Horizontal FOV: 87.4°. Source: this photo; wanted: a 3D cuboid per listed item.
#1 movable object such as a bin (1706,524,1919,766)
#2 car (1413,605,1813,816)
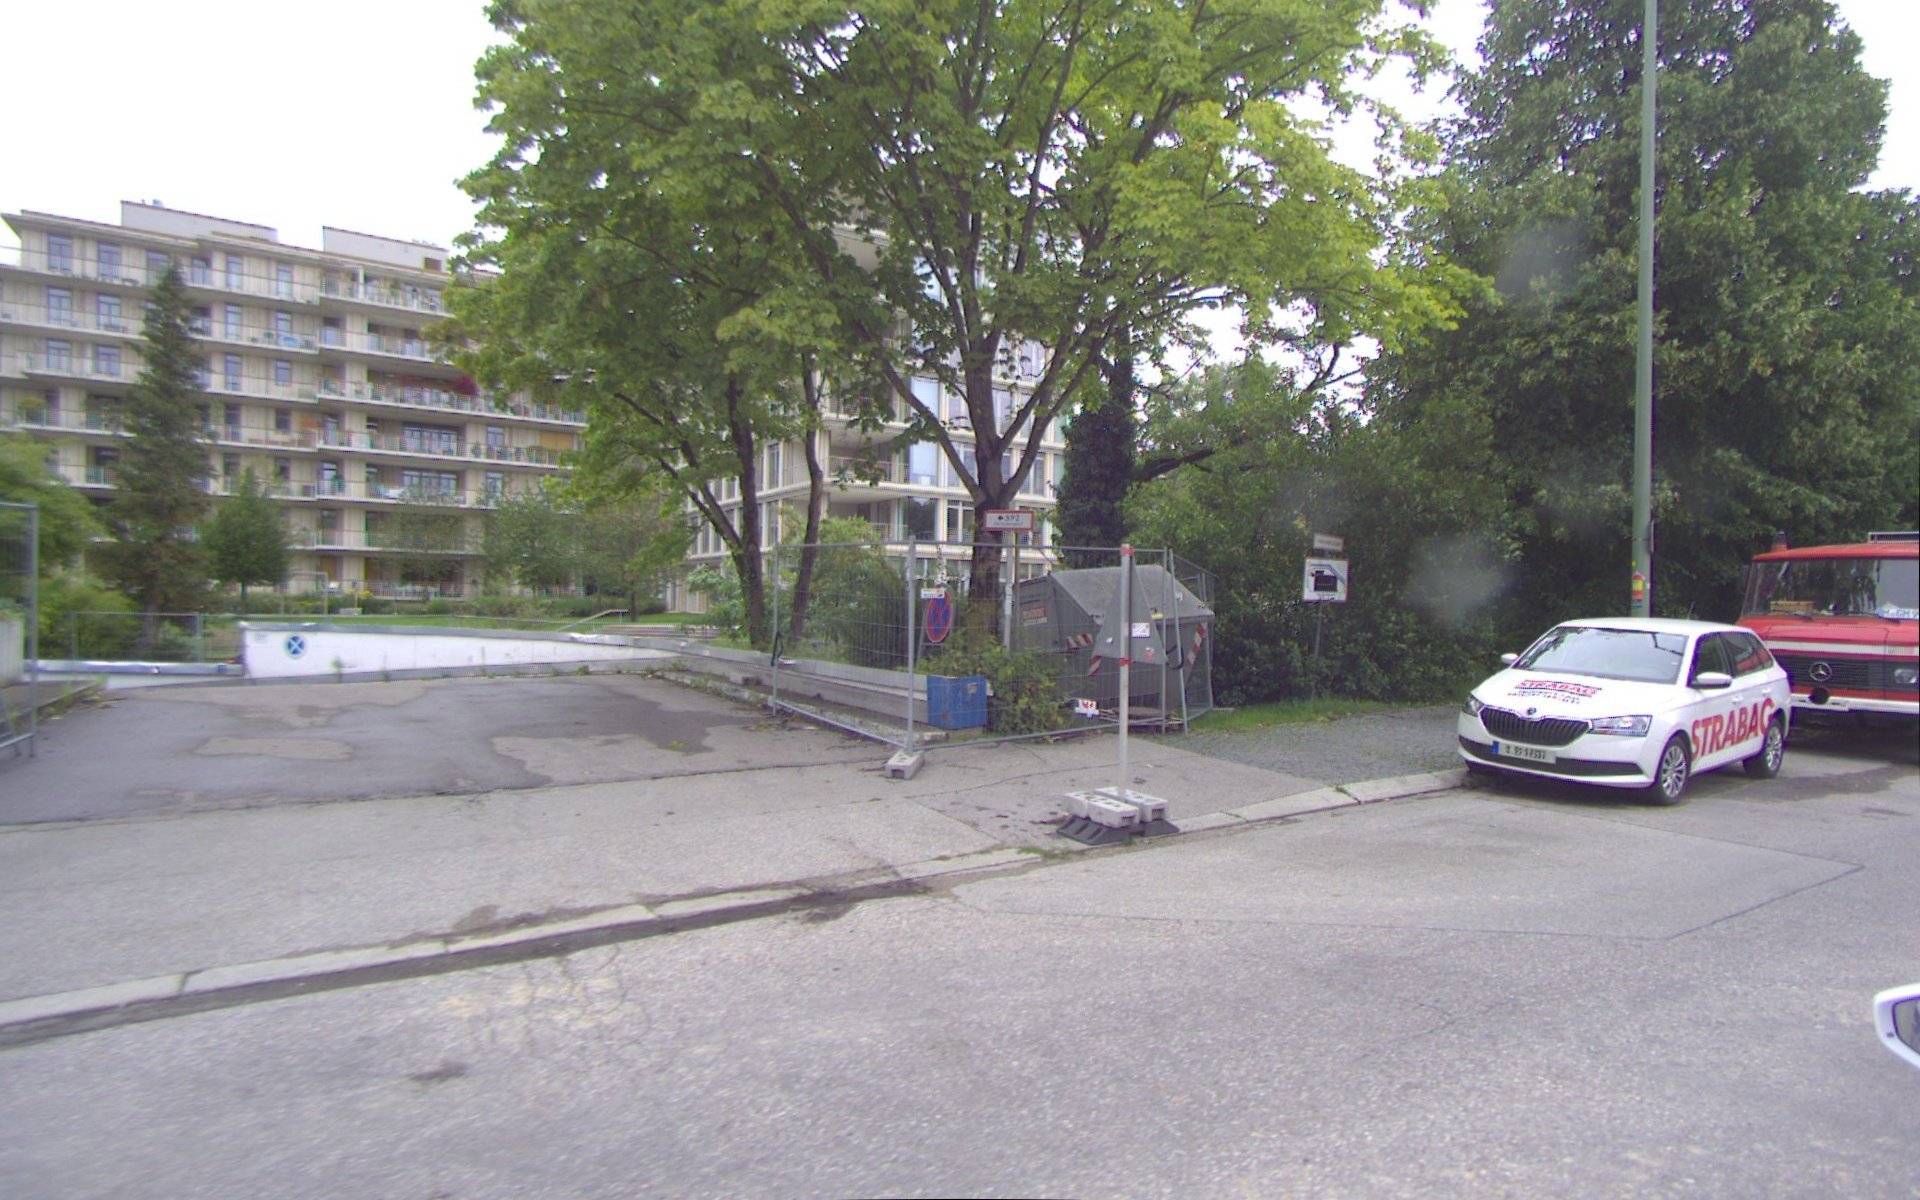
[{"bbox_3d":[12.122,0.518,12.604,6.111,2.491,2.095,1,0,-29],"label":"movable object such as a bin"},{"bbox_3d":[6.312,0.877,9.557,4.215,1.570,1.764,1,0,-36],"label":"car"}]
